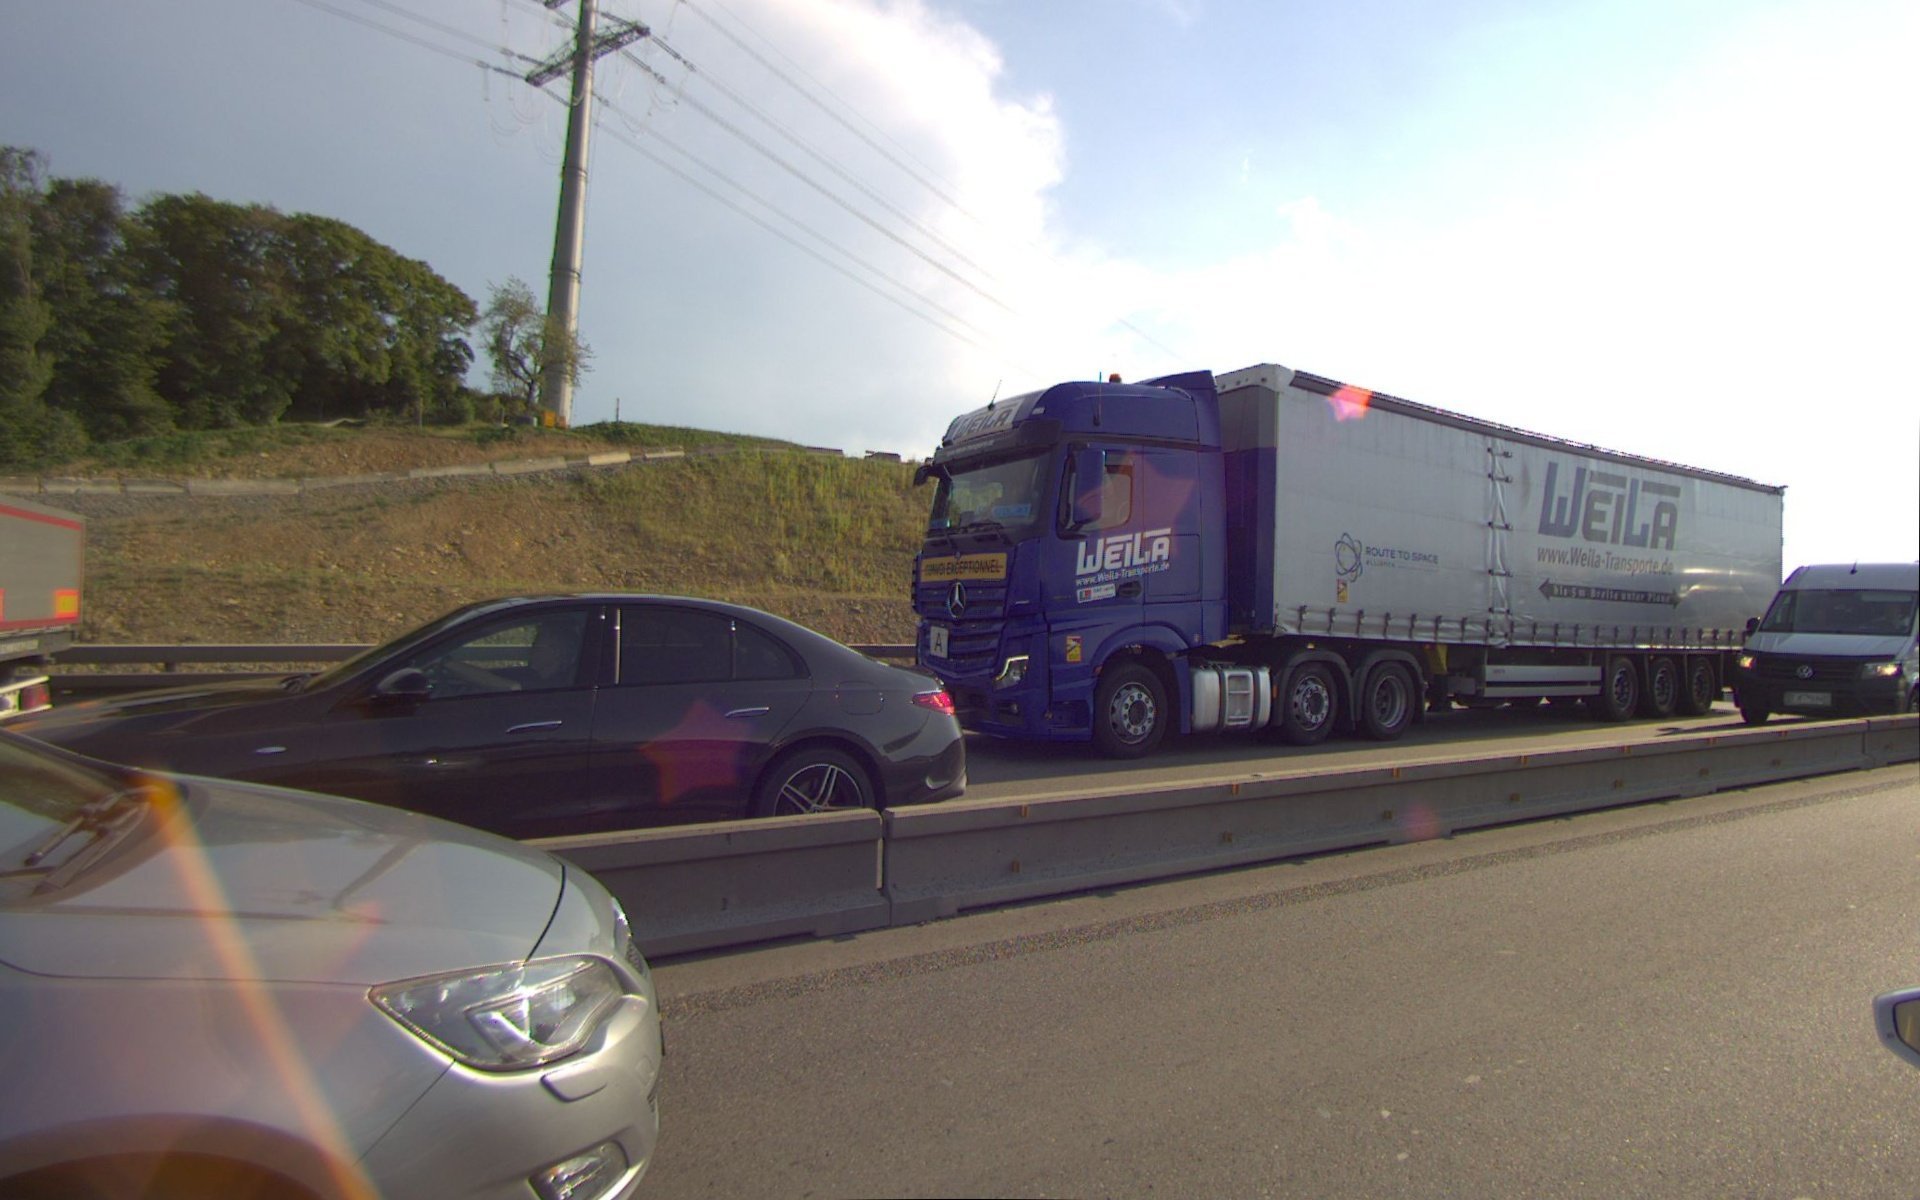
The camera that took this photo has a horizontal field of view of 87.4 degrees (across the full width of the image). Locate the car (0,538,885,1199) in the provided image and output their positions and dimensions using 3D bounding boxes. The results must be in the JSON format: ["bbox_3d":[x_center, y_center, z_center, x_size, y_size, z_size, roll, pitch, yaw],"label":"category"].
[{"bbox_3d":[-2.437,0.645,1.524,4.300,1.492,1.748,2,-1,-29],"label":"car"}]

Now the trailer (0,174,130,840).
[{"bbox_3d":[-11.920,-0.711,3.303,13.816,3.774,2.507,2,-1,-31],"label":"trailer"}]

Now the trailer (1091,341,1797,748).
[{"bbox_3d":[8.330,-0.373,15.178,14.440,4.185,2.294,2,-1,-32],"label":"trailer"}]

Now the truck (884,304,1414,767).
[{"bbox_3d":[2.228,-0.501,11.413,5.597,4.119,2.492,2,-1,-30],"label":"truck"}]

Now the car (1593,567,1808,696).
[{"bbox_3d":[16.745,0.709,22.622,5.530,2.591,2.145,2,-1,-34],"label":"car"}]

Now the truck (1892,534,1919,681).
[{"bbox_3d":[29.661,0.285,29.189,5.822,4.119,2.488,2,-1,-34],"label":"truck"}]

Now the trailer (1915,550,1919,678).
[{"bbox_3d":[36.227,0.636,33.824,15.231,3.924,2.678,2,-1,-34],"label":"trailer"}]

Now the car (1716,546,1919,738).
[{"bbox_3d":[14.665,0.645,16.027,6.704,2.533,2.044,2,-1,-34],"label":"car"}]

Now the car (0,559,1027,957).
[{"bbox_3d":[-2.090,0.609,5.283,4.712,1.396,1.750,2,-1,-30],"label":"car"}]
